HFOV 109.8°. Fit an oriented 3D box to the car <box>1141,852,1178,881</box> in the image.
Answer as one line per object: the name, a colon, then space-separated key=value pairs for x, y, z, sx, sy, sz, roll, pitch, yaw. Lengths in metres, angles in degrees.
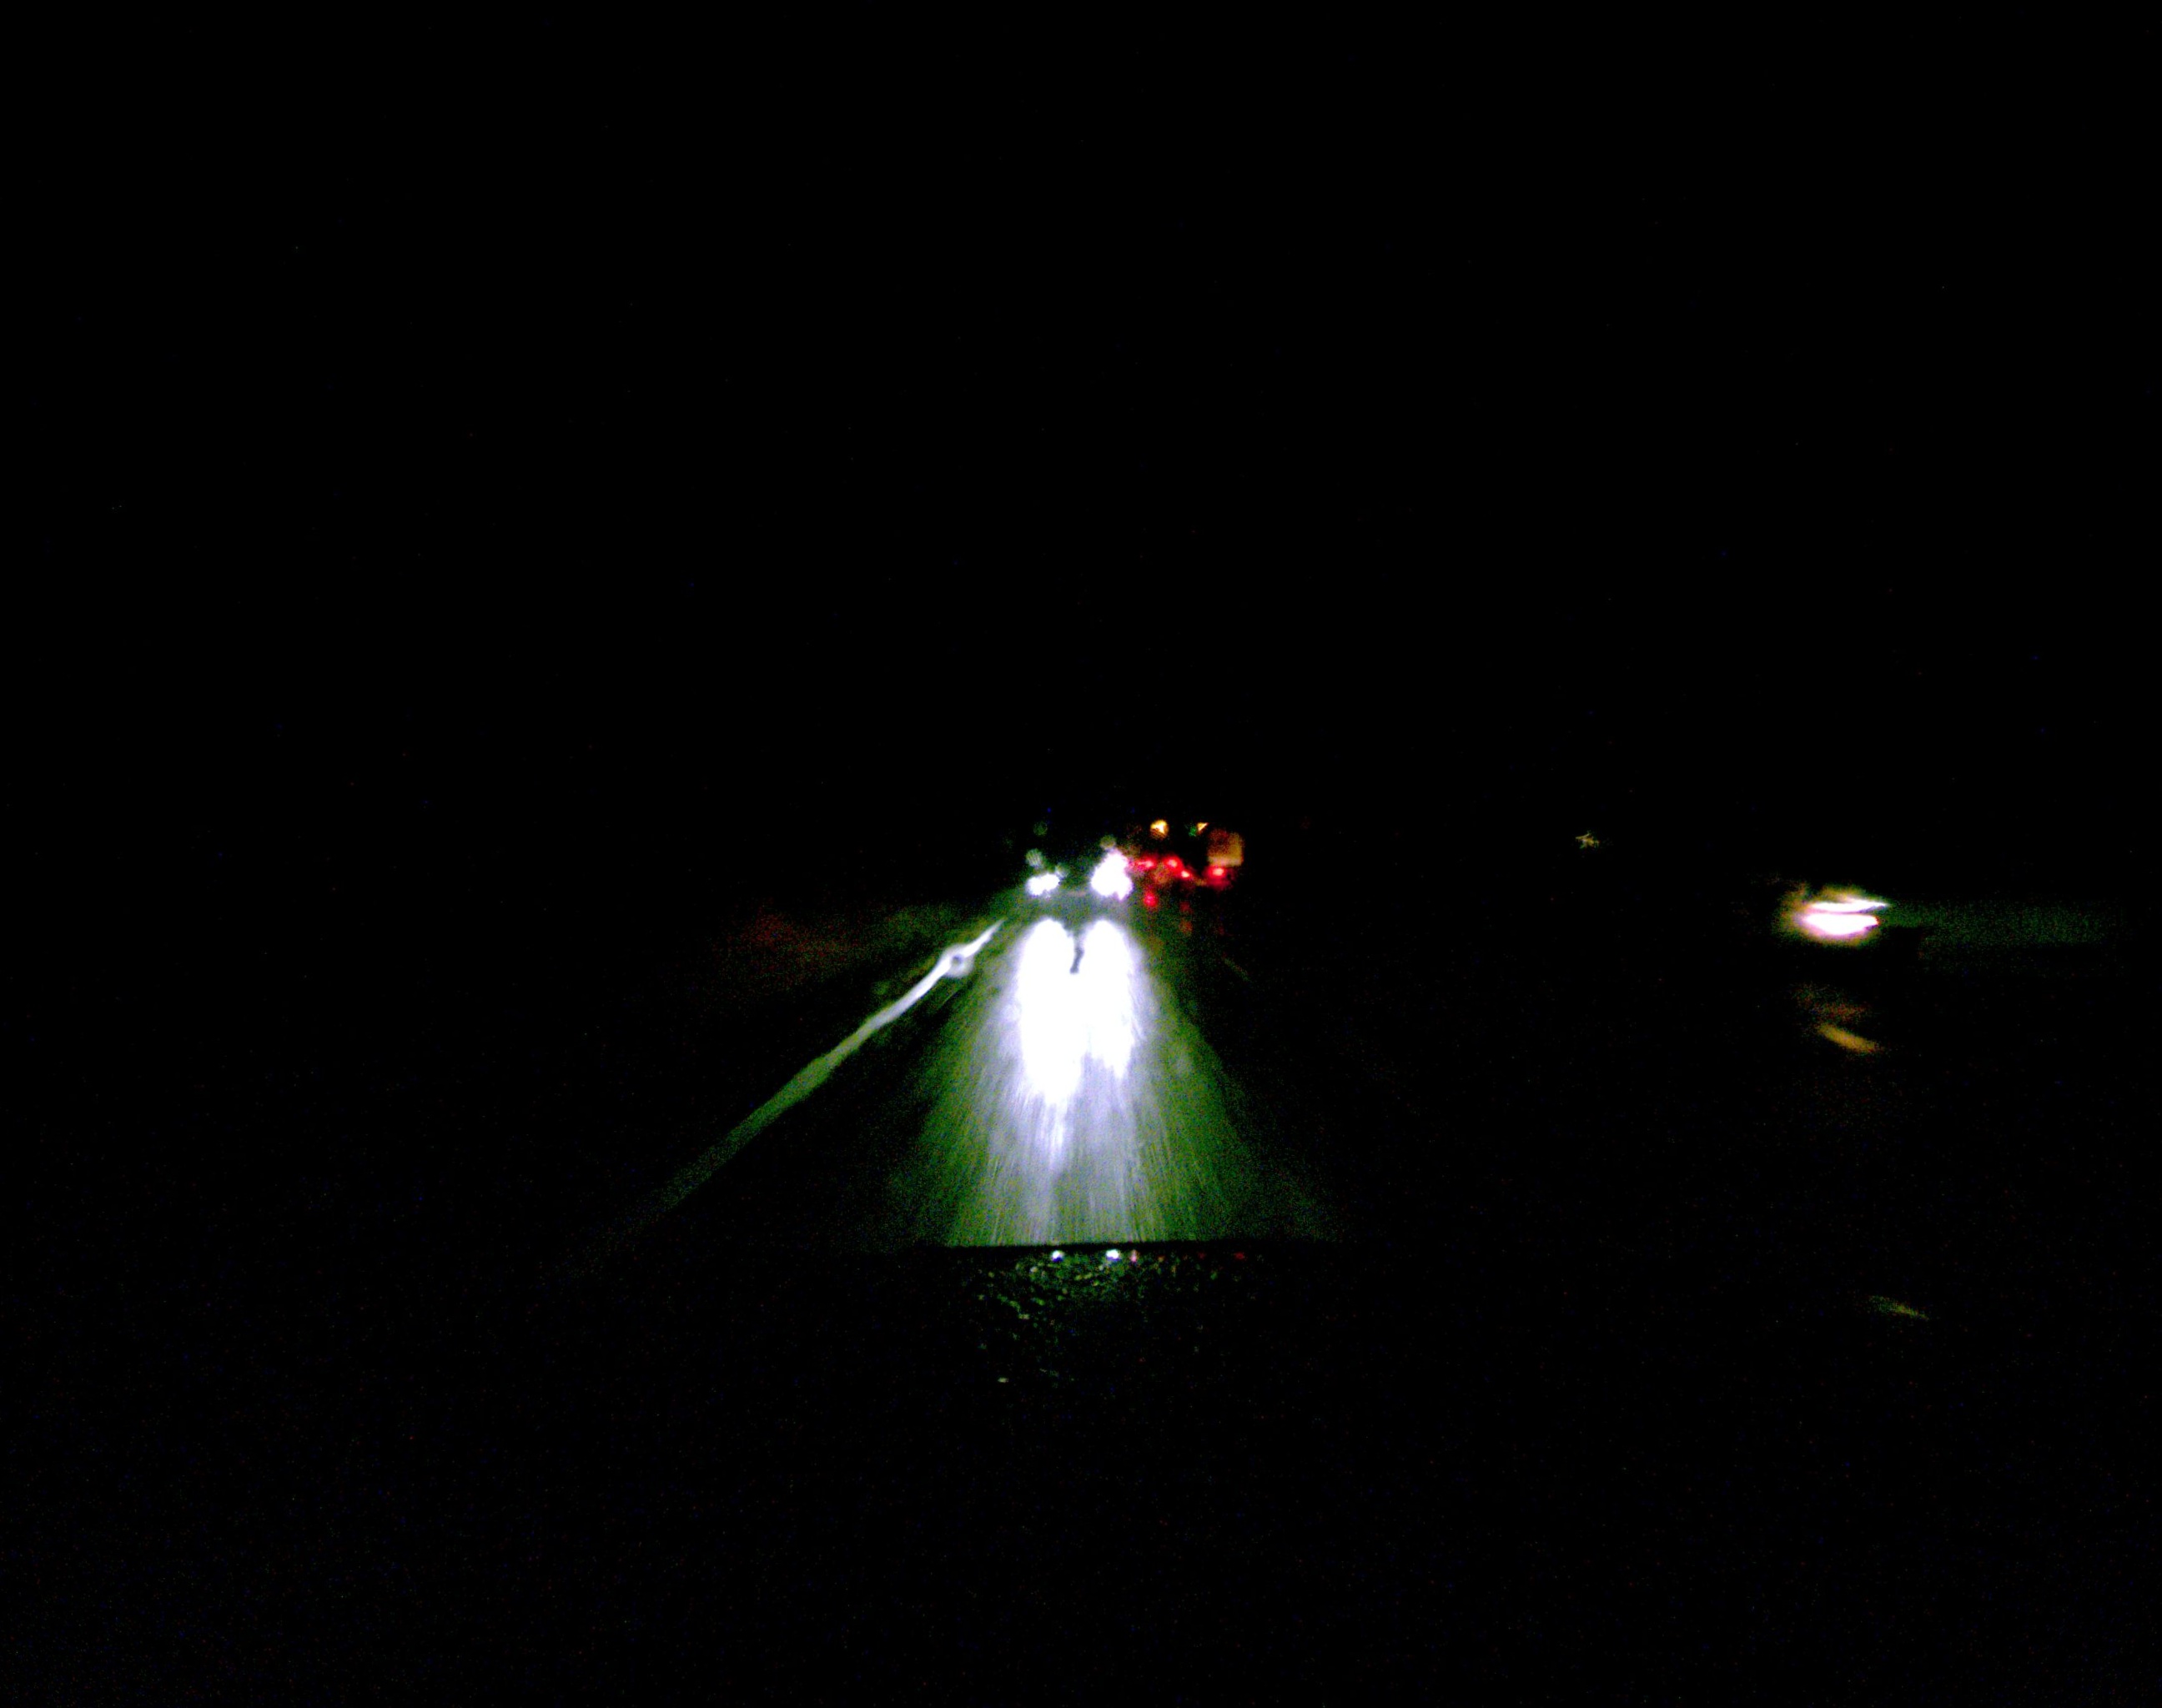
car: x=4.494 y=0.674 z=44.092 sx=1.807 sy=1.563 sz=4.191 roll=-1 pitch=0 yaw=1

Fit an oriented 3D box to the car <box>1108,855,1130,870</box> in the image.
car: x=4.125 y=0.864 z=82.803 sx=1.899 sy=1.552 sz=4.003 roll=0 pitch=0 yaw=10

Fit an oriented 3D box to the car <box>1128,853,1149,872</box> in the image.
car: x=5.112 y=0.731 z=67.421 sx=1.644 sy=1.605 sz=3.733 roll=1 pitch=0 yaw=6

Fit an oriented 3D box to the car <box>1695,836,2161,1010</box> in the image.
car: x=10.785 y=0.760 z=9.258 sx=4.945 sy=1.827 sz=1.934 roll=1 pitch=0 yaw=2

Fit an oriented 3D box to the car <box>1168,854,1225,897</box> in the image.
car: x=4.118 y=0.743 z=27.607 sx=1.602 sy=1.416 sz=3.552 roll=-1 pitch=0 yaw=1

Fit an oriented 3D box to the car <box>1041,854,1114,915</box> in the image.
car: x=-0.024 y=0.809 z=21.934 sx=1.901 sy=1.552 sz=4.000 roll=-1 pitch=0 yaw=2
